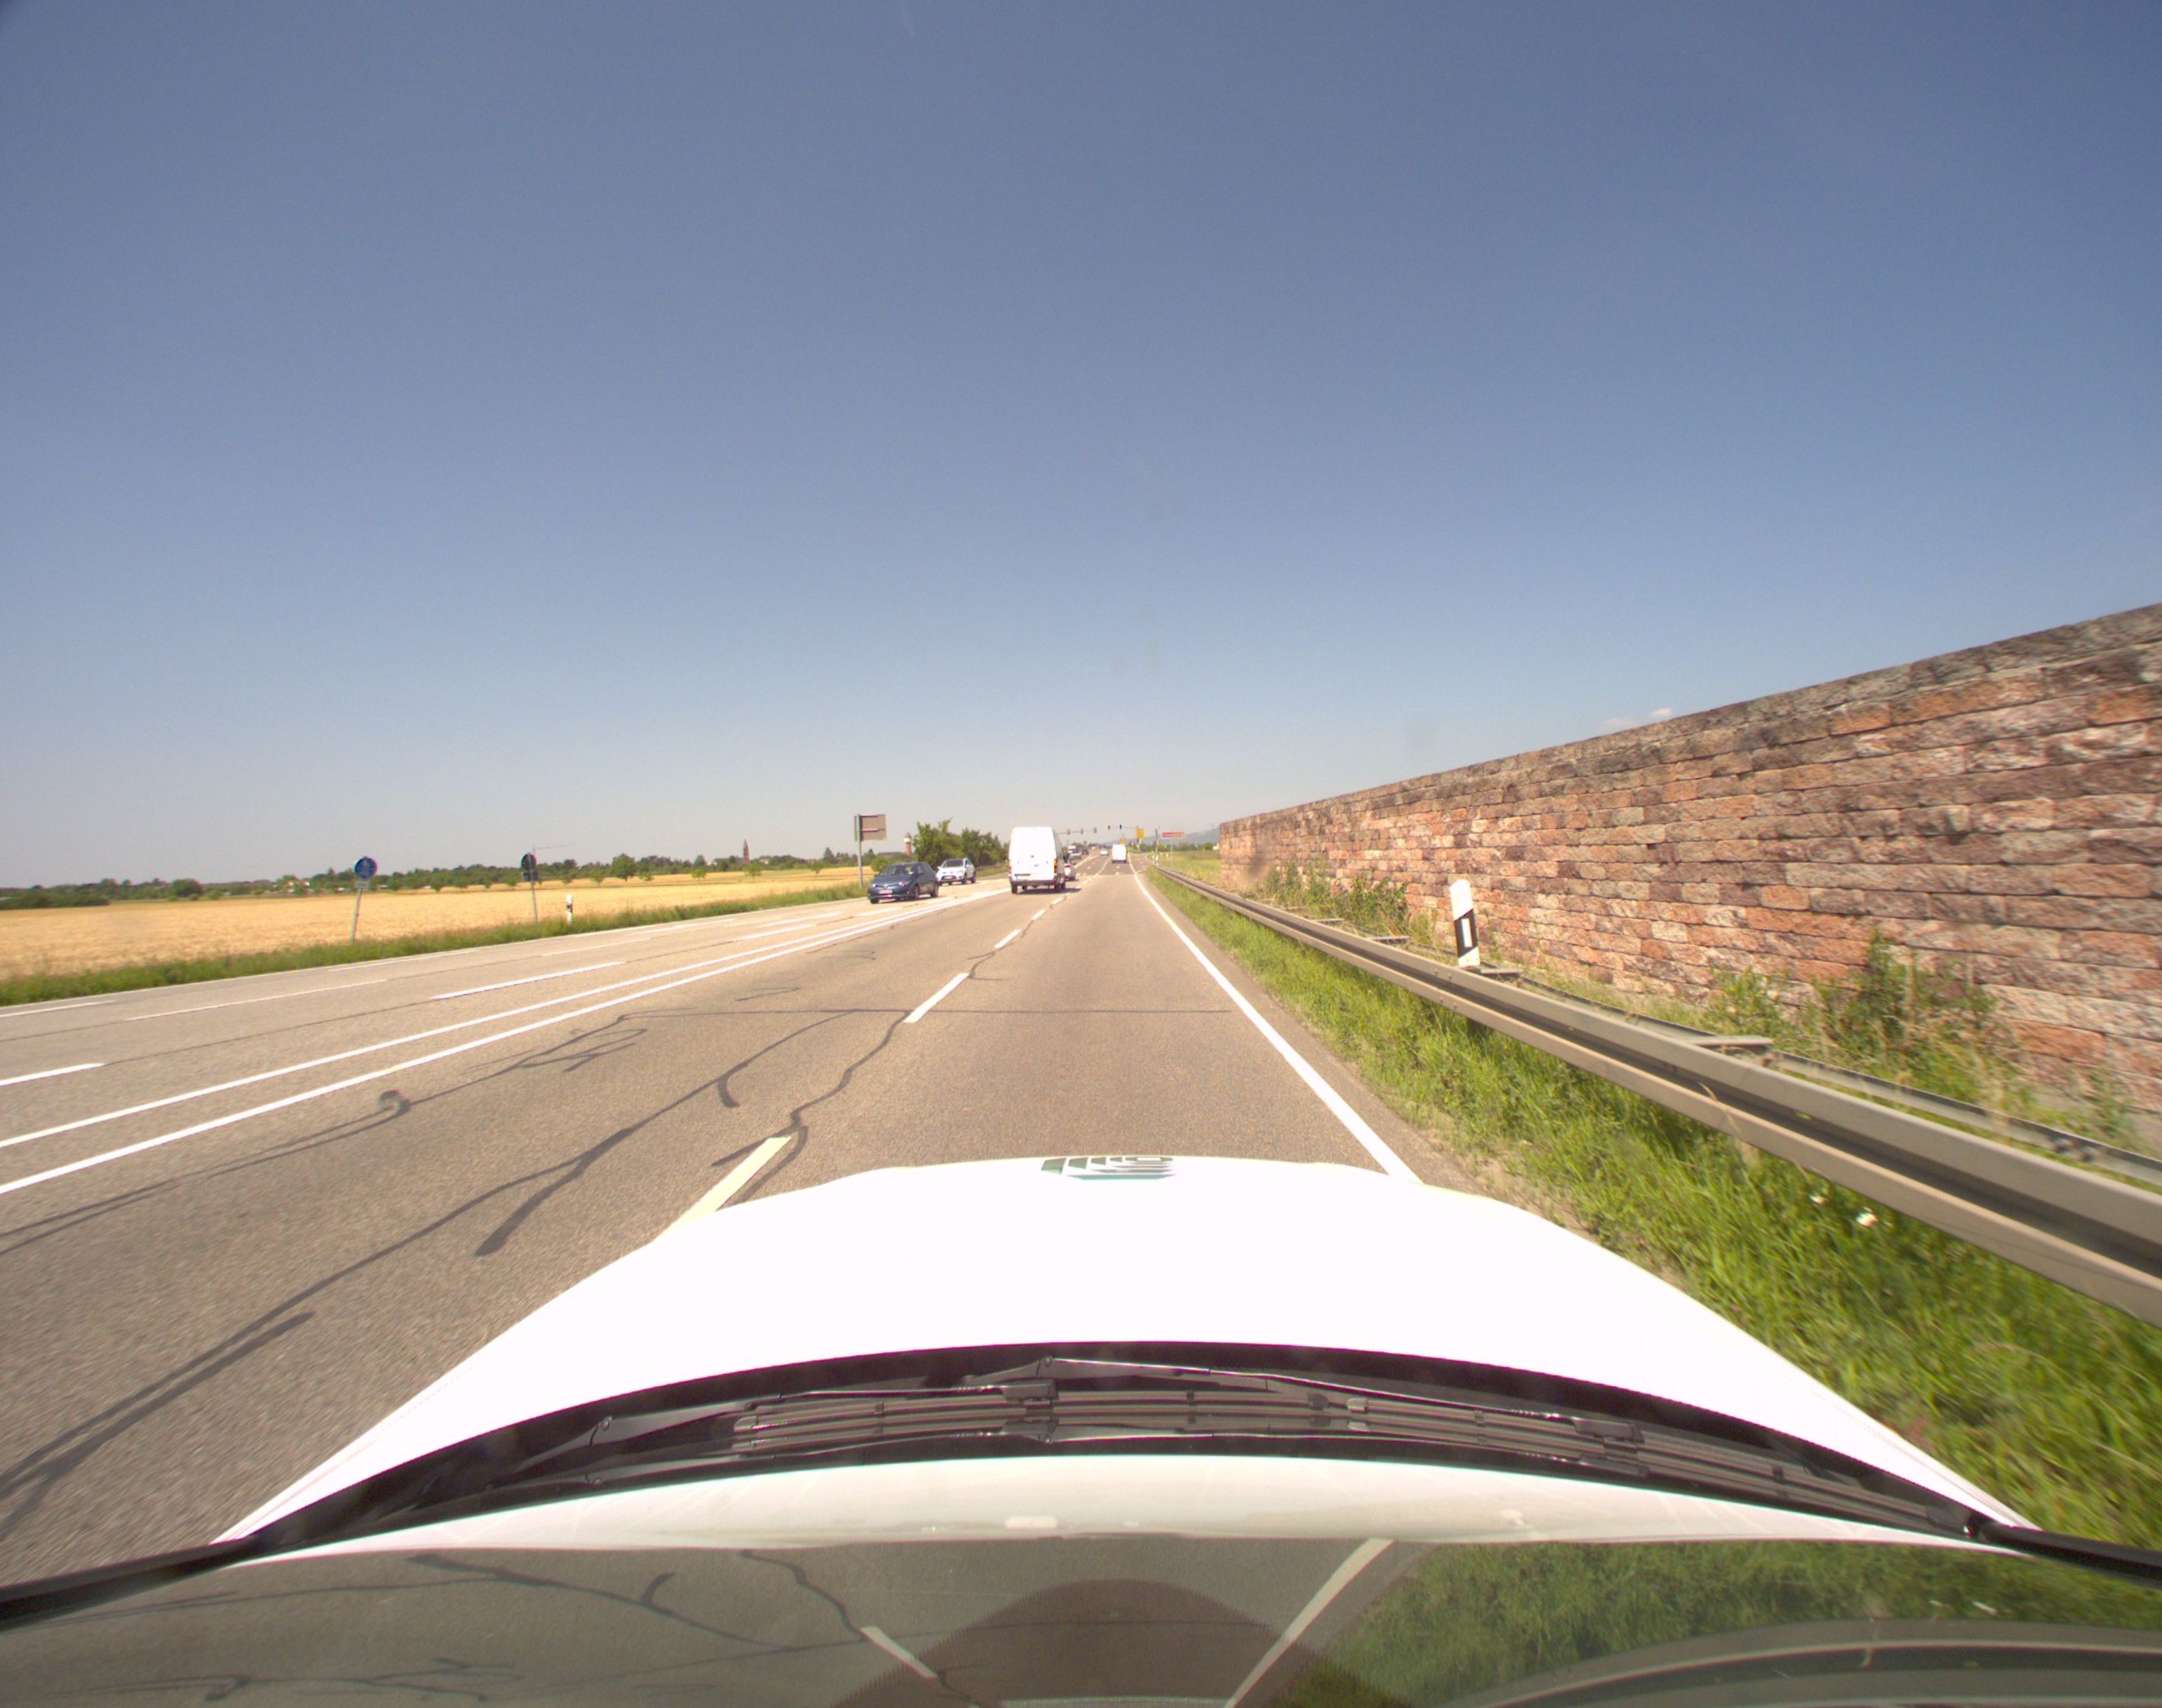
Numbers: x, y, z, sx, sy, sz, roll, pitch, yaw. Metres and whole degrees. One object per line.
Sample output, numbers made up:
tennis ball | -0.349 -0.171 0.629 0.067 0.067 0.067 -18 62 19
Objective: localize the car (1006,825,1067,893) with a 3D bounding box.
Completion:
car | -1.771 0.231 34.542 2.031 2.620 5.743 -1 -1 2

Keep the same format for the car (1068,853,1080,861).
car | -1.289 0.567 157.431 1.849 1.423 4.004 -3 0 4

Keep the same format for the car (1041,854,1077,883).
car | -1.276 0.830 49.088 1.792 1.508 4.199 -3 1 3

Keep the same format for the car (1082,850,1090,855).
car | 1.336 -0.349 222.148 1.849 1.423 4.004 -2 -1 4

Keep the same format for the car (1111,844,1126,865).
car | 5.166 0.063 112.250 1.985 2.695 4.973 -3 0 3

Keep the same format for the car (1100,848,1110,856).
car | 5.616 -0.447 189.967 1.985 1.703 4.278 -1 -1 3

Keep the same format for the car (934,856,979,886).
car | -7.995 1.041 52.687 1.656 1.676 4.472 -4 0 7

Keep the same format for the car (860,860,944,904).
car | -6.753 1.016 31.190 1.750 1.457 4.239 -4 -1 7
